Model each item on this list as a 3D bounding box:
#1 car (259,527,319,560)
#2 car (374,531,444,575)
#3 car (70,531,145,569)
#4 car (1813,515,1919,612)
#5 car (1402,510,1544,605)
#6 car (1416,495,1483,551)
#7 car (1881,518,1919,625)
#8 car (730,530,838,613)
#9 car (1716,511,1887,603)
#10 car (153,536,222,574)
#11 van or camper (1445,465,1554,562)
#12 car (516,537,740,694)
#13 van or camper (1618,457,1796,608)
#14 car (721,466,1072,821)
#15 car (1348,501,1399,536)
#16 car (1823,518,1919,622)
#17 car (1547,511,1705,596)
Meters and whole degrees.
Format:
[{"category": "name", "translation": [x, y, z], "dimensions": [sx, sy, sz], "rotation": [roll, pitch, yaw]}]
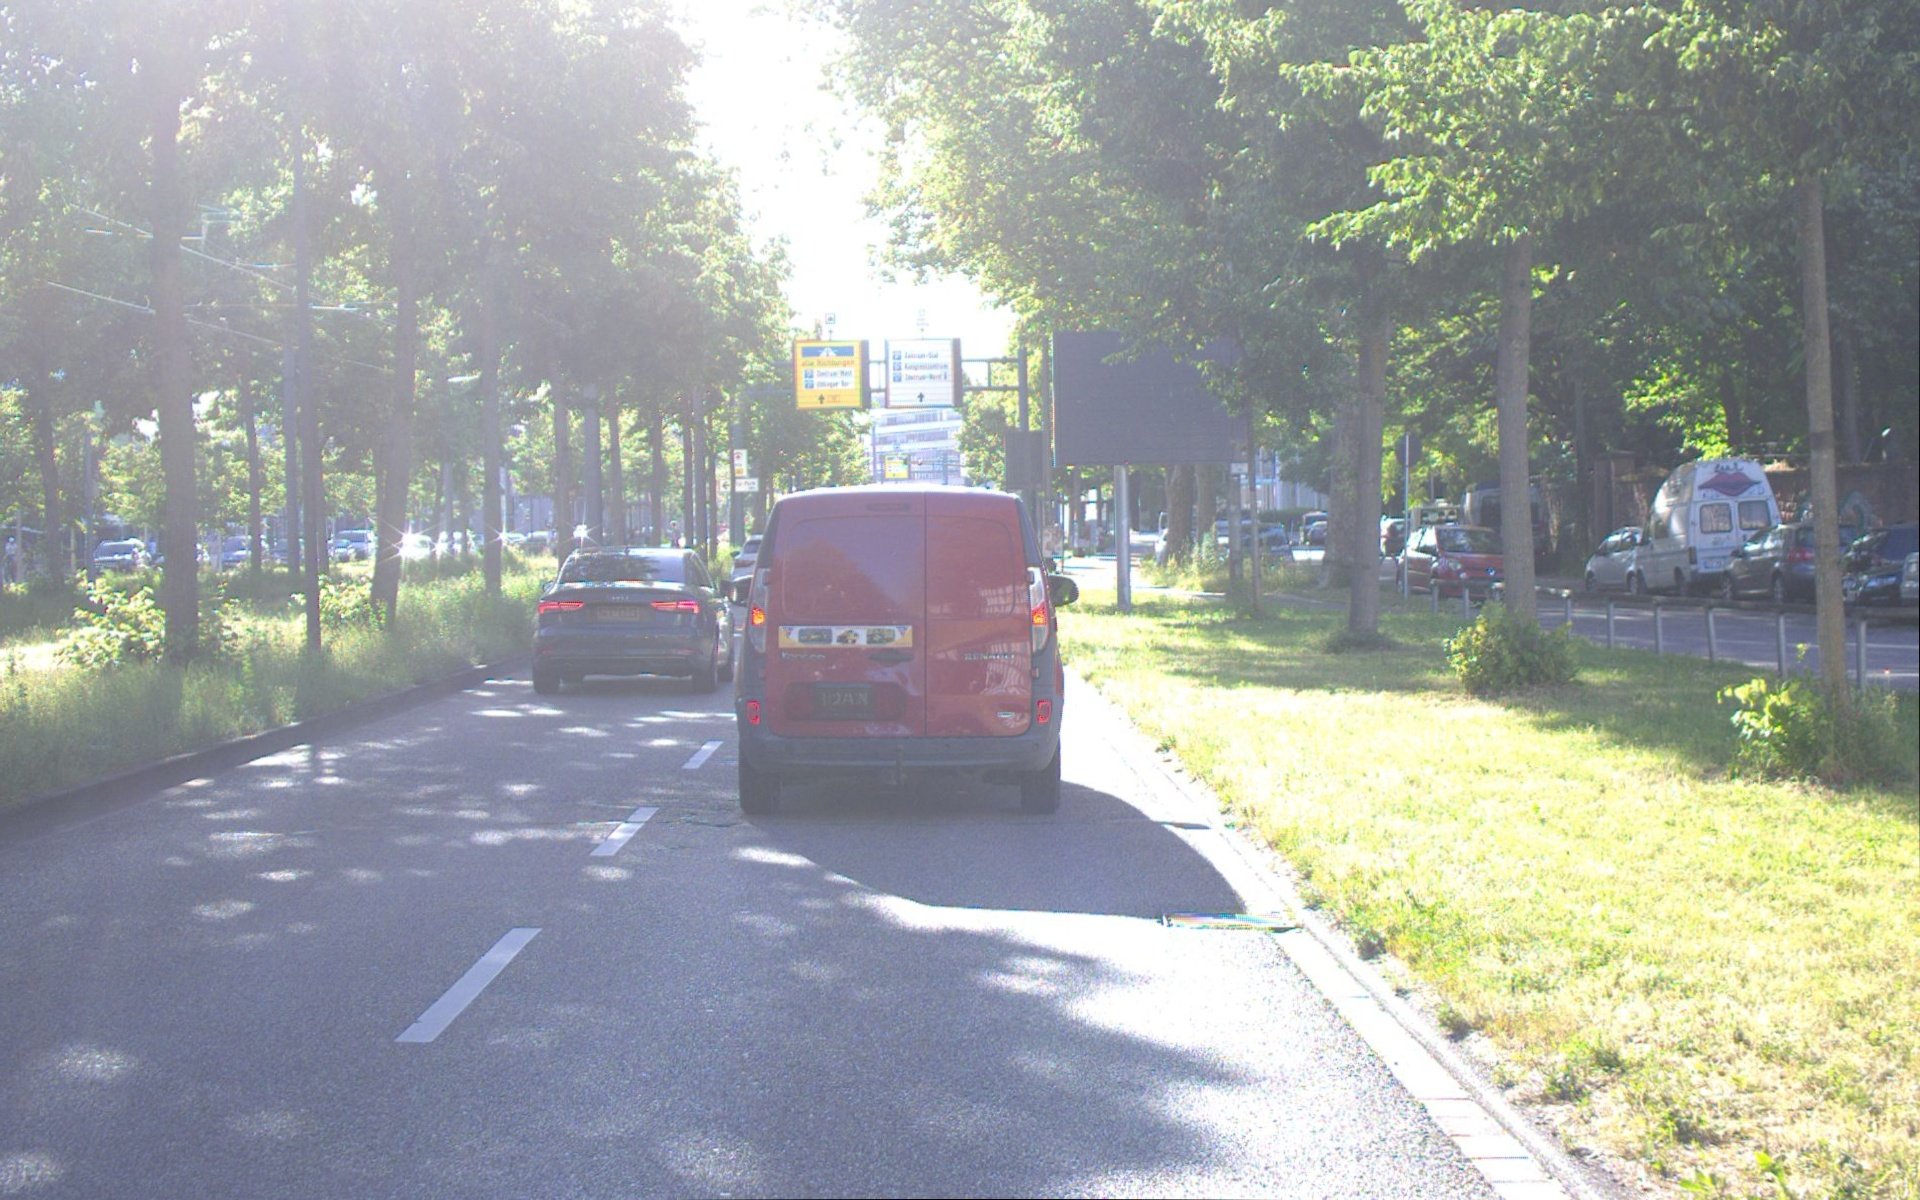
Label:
[{"category": "car", "translation": [-33.200, -2.790, 170.172], "dimensions": [1.993, 1.603, 4.611], "rotation": [1, 1, 1]}, {"category": "car", "translation": [-21.611, -1.841, 135.008], "dimensions": [1.993, 1.680, 5.111], "rotation": [1, 1, -1]}, {"category": "car", "translation": [-33.351, -1.957, 134.576], "dimensions": [1.879, 1.430, 4.611], "rotation": [-1, 1, -2]}, {"category": "car", "translation": [15.894, -0.610, 55.034], "dimensions": [3.986, 1.499, 1.766], "rotation": [-1, 1, -6]}, {"category": "car", "translation": [9.259, -0.781, 62.302], "dimensions": [1.993, 1.634, 4.000], "rotation": [1, 1, 1]}, {"category": "car", "translation": [17.892, -2.814, 125.853], "dimensions": [2.087, 2.007, 4.942], "rotation": [0, 1, 4]}, {"category": "car", "translation": [15.256, -0.565, 47.647], "dimensions": [4.381, 1.406, 2.000], "rotation": [-5, 1, 3]}, {"category": "car", "translation": [-3.555, -0.602, 70.118], "dimensions": [1.993, 1.612, 4.000], "rotation": [1, 1, 0]}, {"category": "car", "translation": [14.941, -0.774, 61.254], "dimensions": [1.993, 1.568, 4.000], "rotation": [1, 1, -1]}, {"category": "car", "translation": [-33.338, -1.957, 148.489], "dimensions": [1.879, 1.615, 4.611], "rotation": [1, 1, 1]}, {"category": "van or camper", "translation": [16.009, -2.592, 102.364], "dimensions": [2.557, 2.675, 6.564], "rotation": [-3, 2, 4]}, {"category": "car", "translation": [-3.176, 0.110, 33.594], "dimensions": [1.792, 1.423, 4.000], "rotation": [1, 1, 0]}, {"category": "van or camper", "translation": [14.535, -1.315, 67.148], "dimensions": [1.993, 2.722, 4.965], "rotation": [-4, 1, -3]}, {"category": "car", "translation": [-0.441, 0.199, 19.934], "dimensions": [1.808, 1.831, 4.001], "rotation": [1, 1, -3]}, {"category": "car", "translation": [19.860, -3.915, 165.354], "dimensions": [1.993, 1.634, 4.000], "rotation": [1, 1, 1]}, {"category": "car", "translation": [15.345, -0.574, 50.569], "dimensions": [4.719, 1.401, 2.000], "rotation": [-4, 1, 0]}, {"category": "car", "translation": [14.146, -1.005, 73.254], "dimensions": [1.839, 1.612, 4.001], "rotation": [-5, 2, -11]}]
